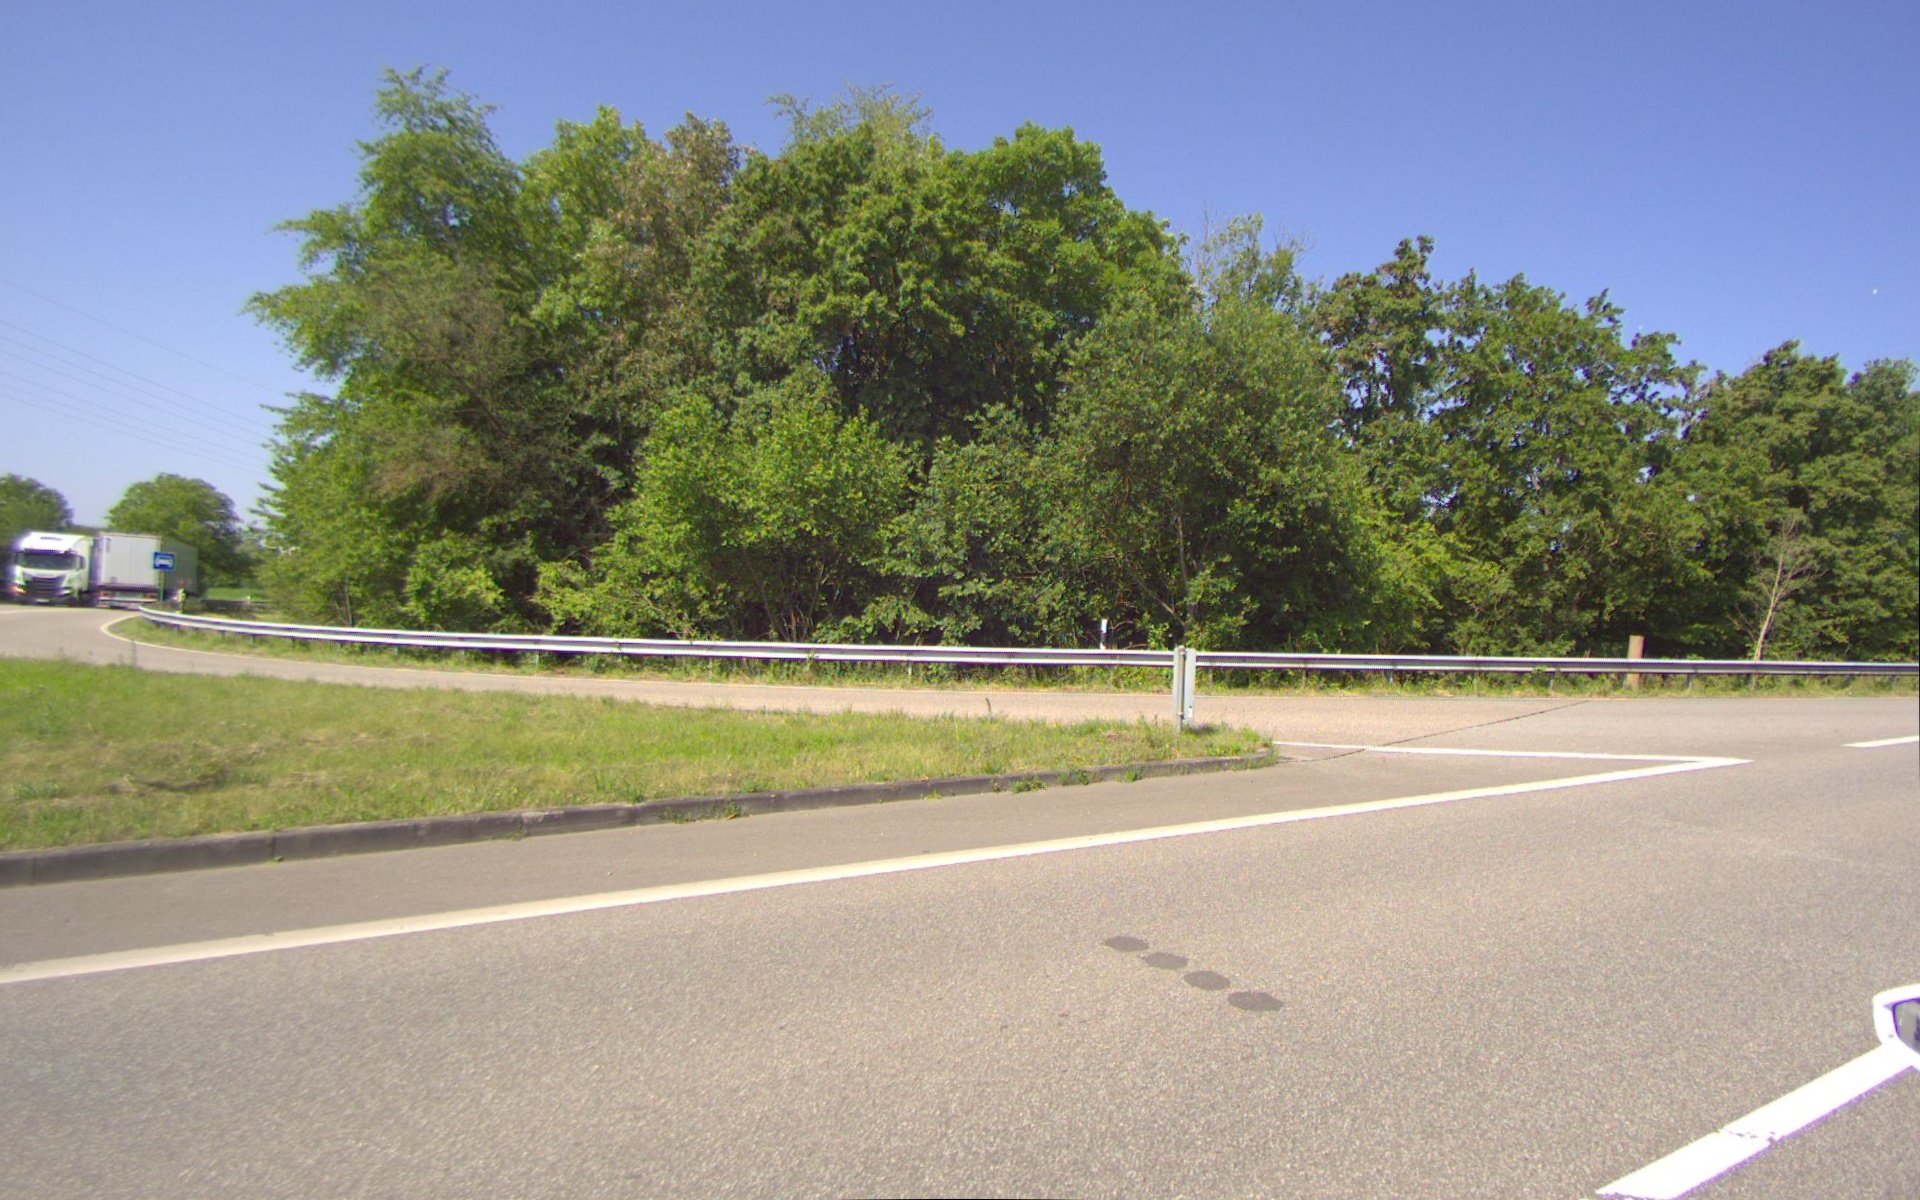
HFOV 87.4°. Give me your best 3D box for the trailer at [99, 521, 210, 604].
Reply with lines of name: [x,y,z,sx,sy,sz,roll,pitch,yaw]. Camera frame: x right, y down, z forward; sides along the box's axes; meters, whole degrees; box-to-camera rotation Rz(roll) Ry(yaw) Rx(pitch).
trailer: [-46.435,-2.030,58.370,2.863,4.221,13.867,1,0,-30]

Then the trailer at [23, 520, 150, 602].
trailer: [-53.168,-2.188,61.627,2.897,4.295,13.869,4,-1,-30]

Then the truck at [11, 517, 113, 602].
truck: [-50.094,-2.154,56.213,2.907,4.293,5.687,4,-1,-30]

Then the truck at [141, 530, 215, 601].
truck: [-49.617,-2.125,63.889,2.846,4.229,5.922,1,0,-30]
